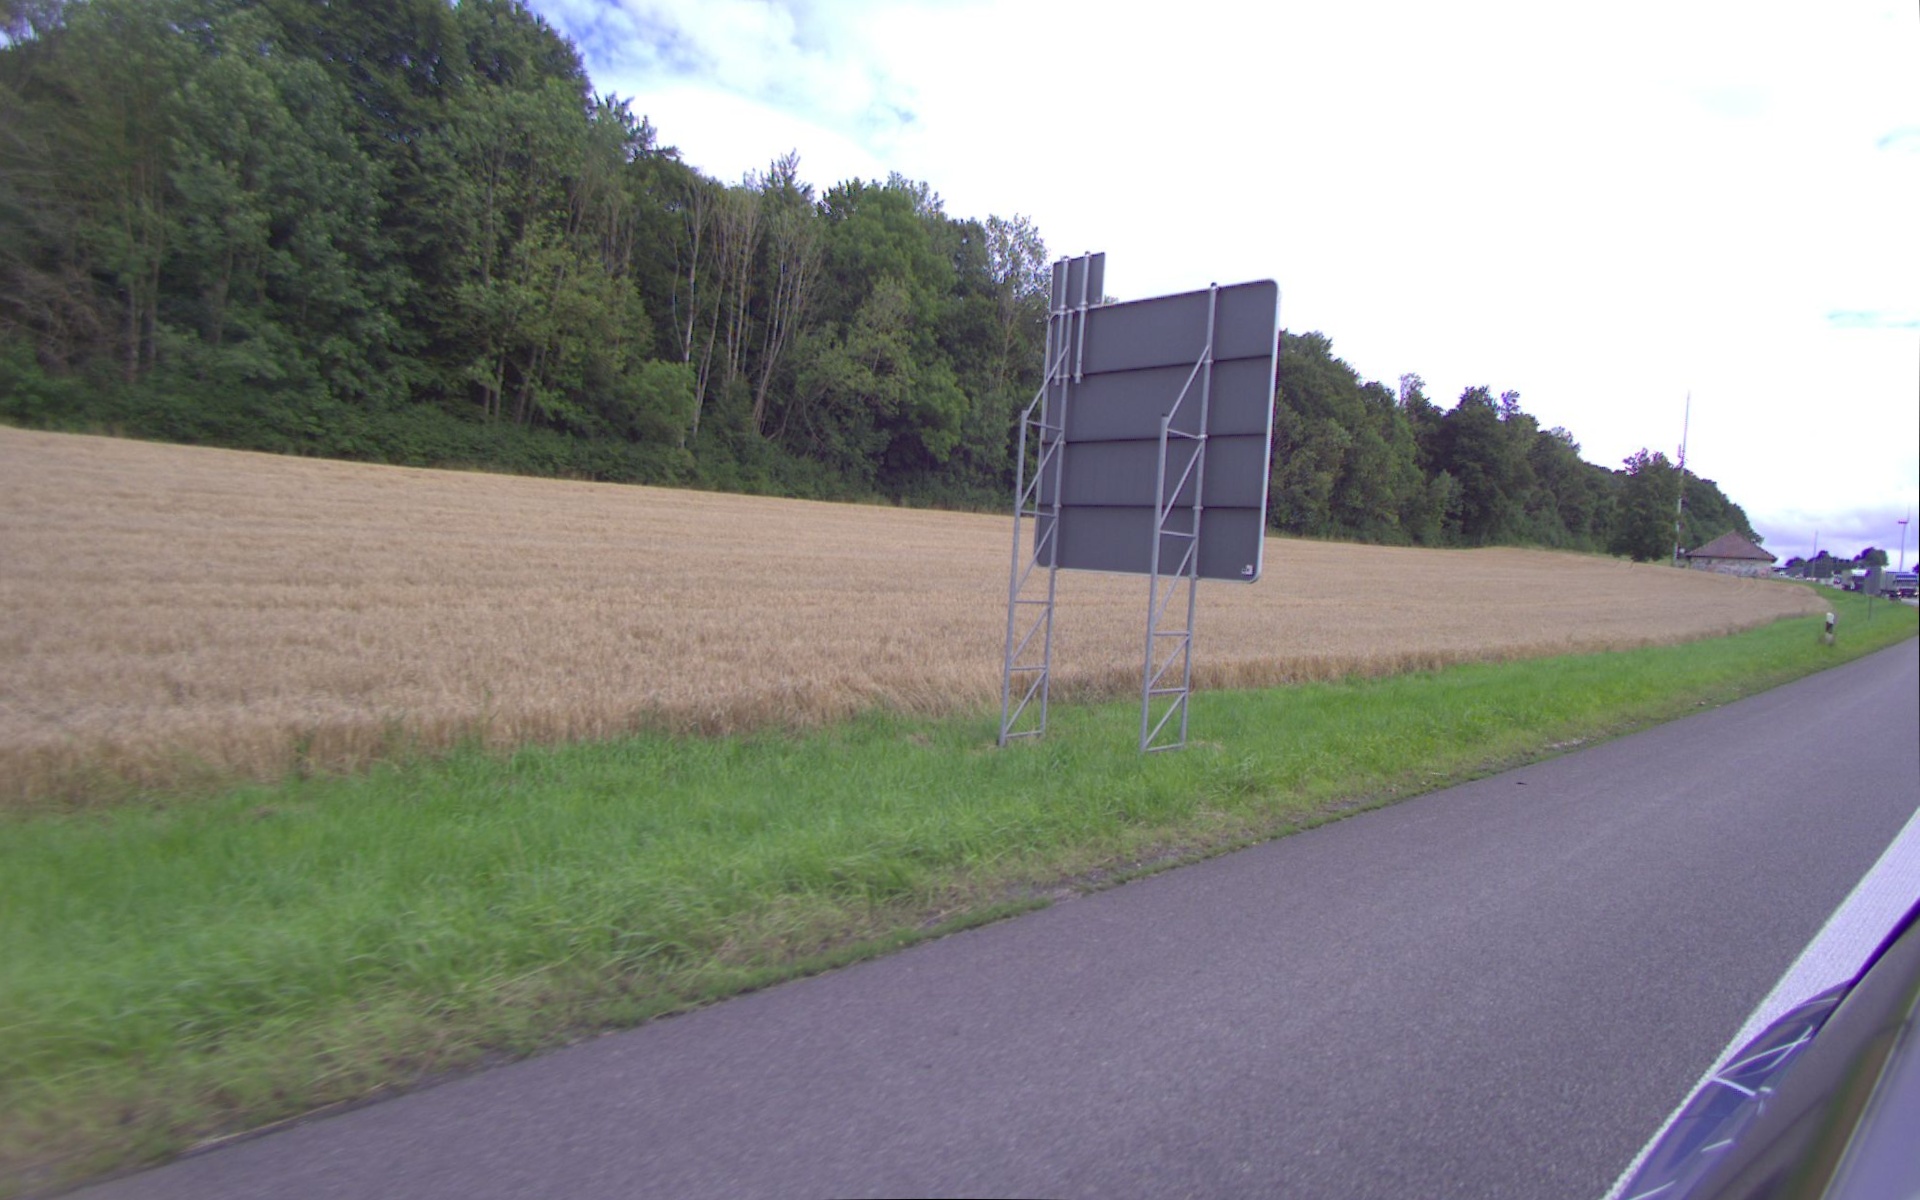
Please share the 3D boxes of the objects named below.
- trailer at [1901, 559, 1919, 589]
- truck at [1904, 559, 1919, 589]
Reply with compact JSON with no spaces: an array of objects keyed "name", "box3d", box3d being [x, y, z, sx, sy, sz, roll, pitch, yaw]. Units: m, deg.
[{"name":"trailer","box3d":[133.601,-3.585,141.304,2.777,4.004,11.130,1,2,41]},{"name":"truck","box3d":[130.026,-3.493,137.168,2.786,4.021,5.852,1,2,41]}]
